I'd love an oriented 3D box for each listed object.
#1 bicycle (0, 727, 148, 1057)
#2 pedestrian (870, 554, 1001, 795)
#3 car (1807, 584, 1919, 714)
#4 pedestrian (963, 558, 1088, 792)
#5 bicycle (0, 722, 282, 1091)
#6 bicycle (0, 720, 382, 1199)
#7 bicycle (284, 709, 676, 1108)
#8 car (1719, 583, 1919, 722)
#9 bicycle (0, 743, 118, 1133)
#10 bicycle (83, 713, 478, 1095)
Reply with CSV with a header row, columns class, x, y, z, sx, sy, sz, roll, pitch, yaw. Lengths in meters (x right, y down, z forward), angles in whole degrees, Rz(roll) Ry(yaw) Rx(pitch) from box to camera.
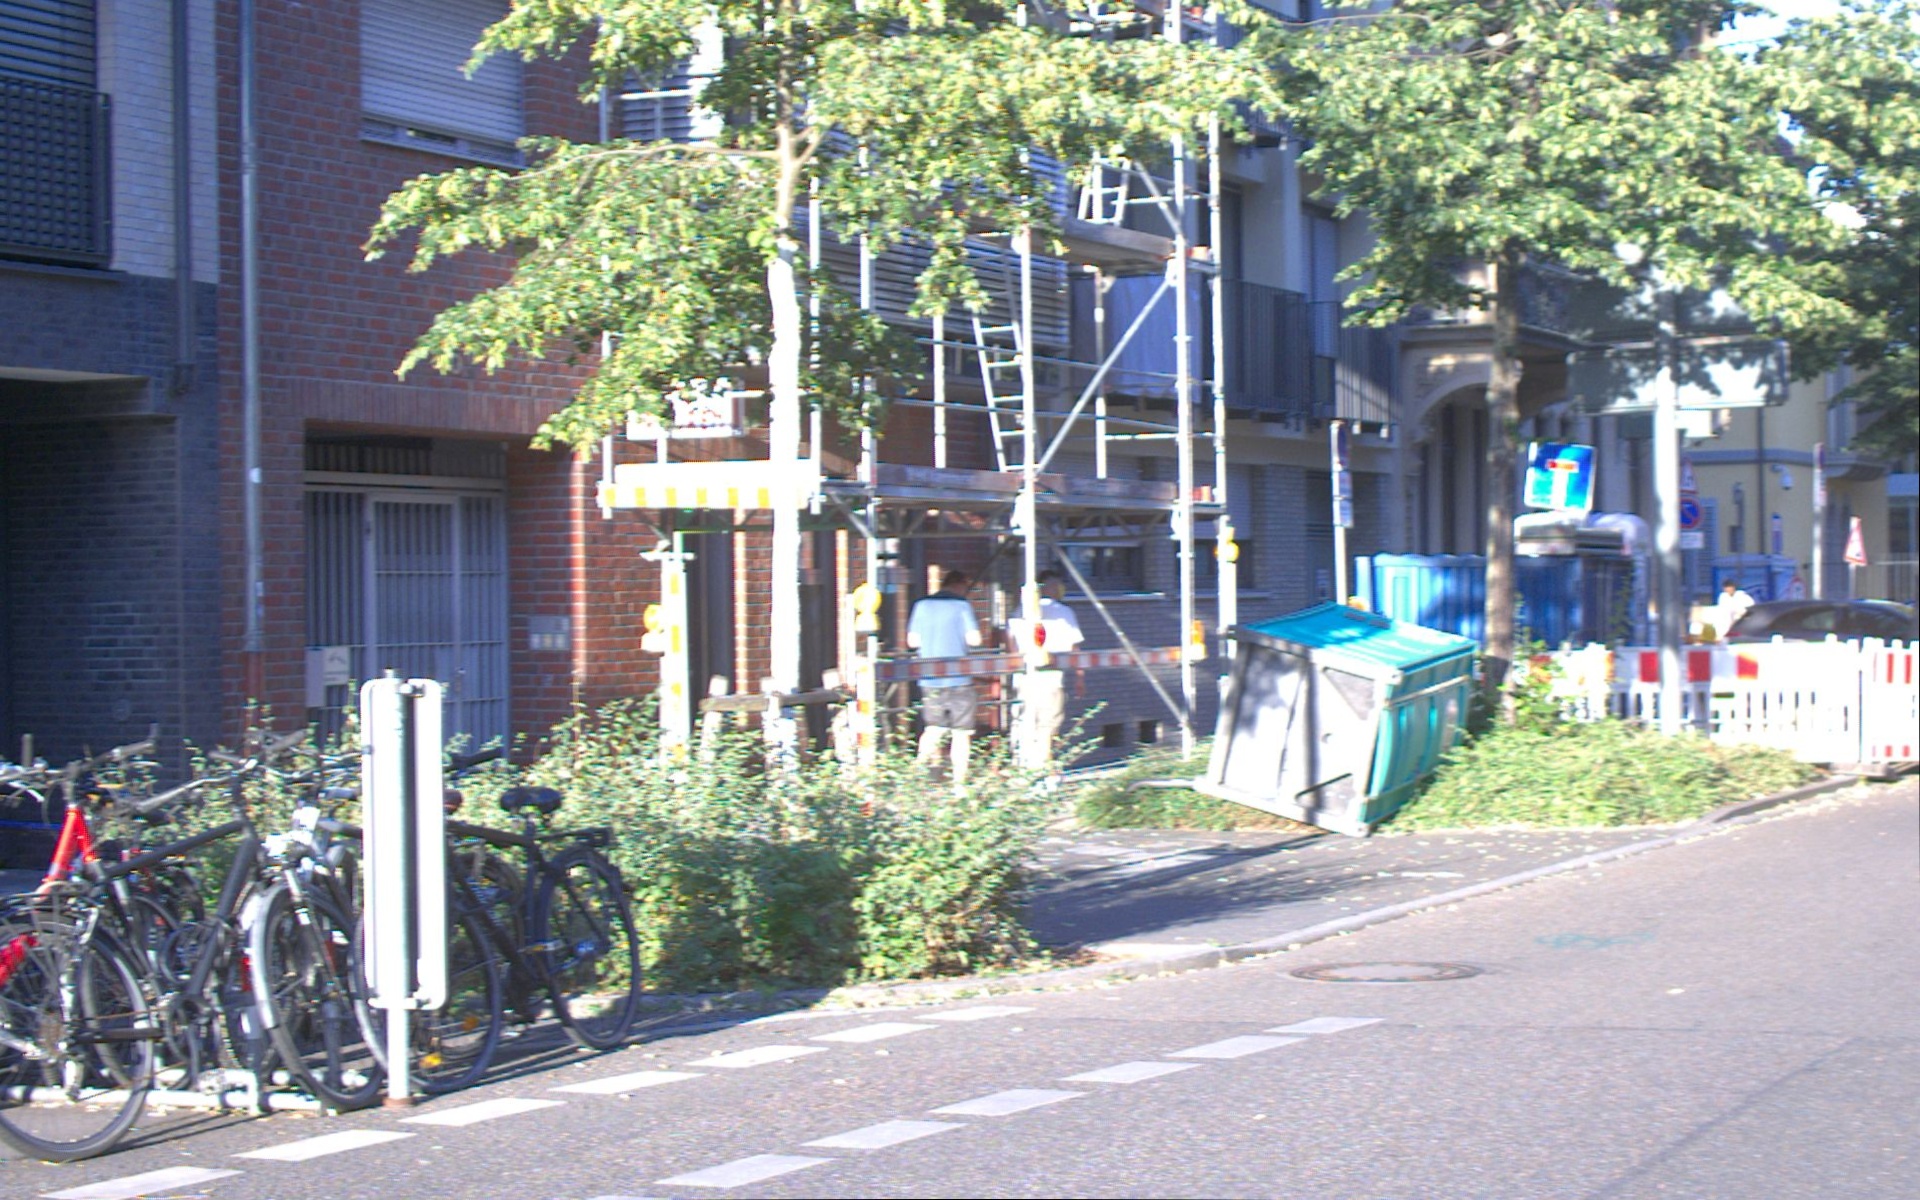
class,x,y,z,sx,sy,sz,roll,pitch,yaw
bicycle,-3.628,1.063,12.421,0.468,1.140,1.550,0,0,26
pedestrian,-0.181,0.553,25.872,0.742,1.777,0.655,-1,0,26
car,13.300,0.629,44.943,3.993,1.678,1.888,0,0,28
pedestrian,0.510,0.574,26.581,0.742,1.777,0.656,-1,0,24
bicycle,-3.048,1.032,12.014,0.488,1.146,1.550,0,0,26
bicycle,-2.324,0.986,9.858,0.498,1.216,1.550,0,0,26
bicycle,-1.566,0.982,11.459,0.508,1.175,1.550,0,0,26
car,11.672,0.629,42.762,3.993,1.678,1.888,0,0,28
bicycle,-3.236,1.043,10.283,0.418,1.153,1.549,0,0,31
bicycle,-2.298,1.000,11.802,0.488,1.159,1.550,0,0,26
